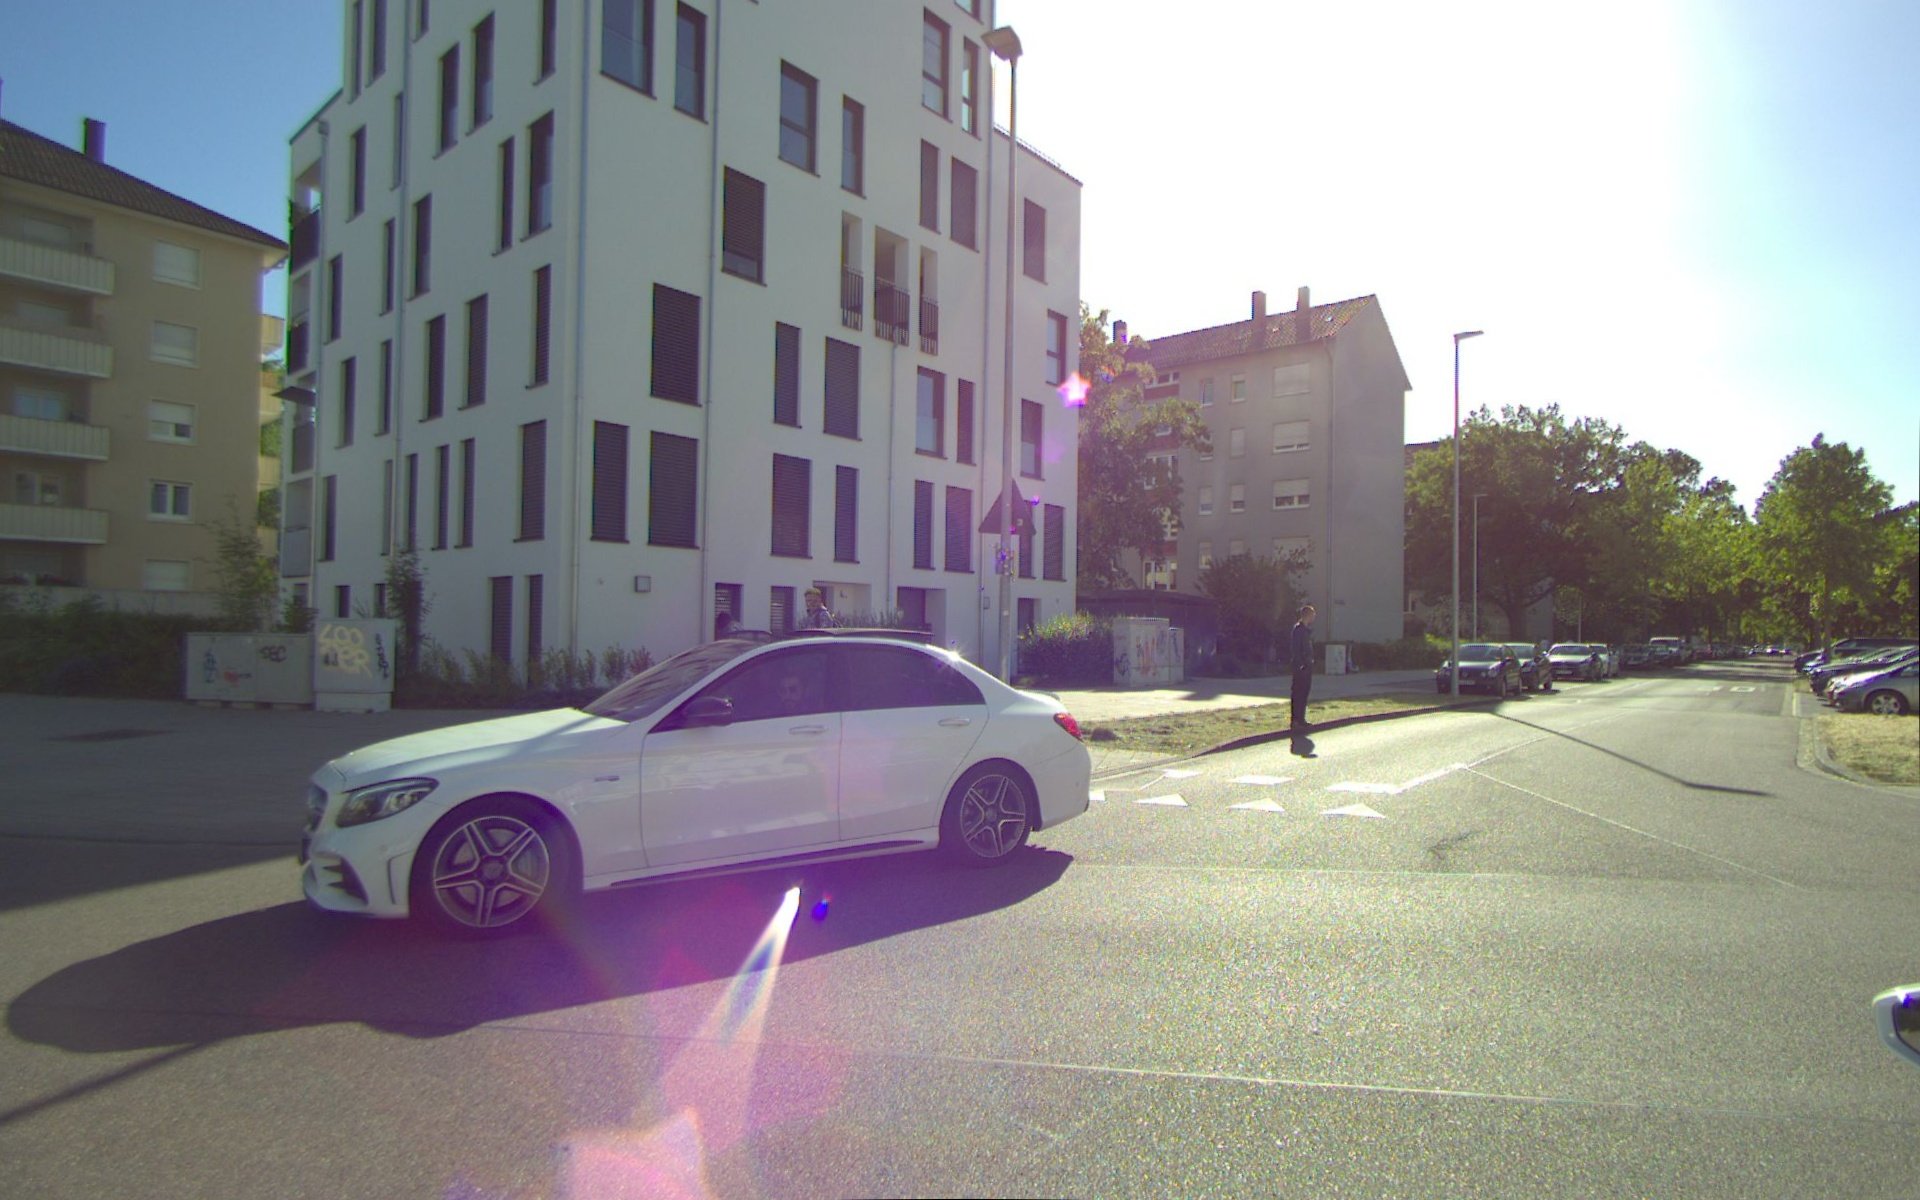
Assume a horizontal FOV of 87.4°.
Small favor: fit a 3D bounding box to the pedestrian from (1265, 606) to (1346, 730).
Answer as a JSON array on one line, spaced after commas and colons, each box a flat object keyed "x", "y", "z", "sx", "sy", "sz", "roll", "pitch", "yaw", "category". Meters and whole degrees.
[{"x": 5.068, "y": 0.972, "z": 14.702, "sx": 0.859, "sy": 1.737, "sz": 0.976, "roll": 0, "pitch": -2, "yaw": 37, "category": "pedestrian"}]

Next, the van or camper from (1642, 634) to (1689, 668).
[{"x": 46.744, "y": 3.406, "z": 66.528, "sx": 1.972, "sy": 2.040, "sz": 3.978, "roll": 2, "pitch": -1, "yaw": 43, "category": "van or camper"}]

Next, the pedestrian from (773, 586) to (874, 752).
[{"x": -1.660, "y": 0.814, "z": 12.279, "sx": 0.831, "sy": 1.910, "sz": 0.790, "roll": 3, "pitch": -1, "yaw": 30, "category": "pedestrian"}]

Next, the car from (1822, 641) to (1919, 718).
[{"x": 20.267, "y": 1.623, "z": 20.446, "sx": 4.038, "sy": 1.512, "sz": 1.722, "roll": 0, "pitch": -2, "yaw": 38, "category": "car"}]

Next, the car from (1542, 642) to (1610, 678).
[{"x": 24.118, "y": 2.323, "z": 39.261, "sx": 1.610, "sy": 1.250, "sz": 4.173, "roll": 2, "pitch": -1, "yaw": 40, "category": "car"}]

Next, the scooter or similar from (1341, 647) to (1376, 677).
[{"x": 14.845, "y": 2.289, "z": 37.376, "sx": 0.525, "sy": 1.060, "sz": 1.859, "roll": 0, "pitch": -2, "yaw": 44, "category": "scooter or similar"}]

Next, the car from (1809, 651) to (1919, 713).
[{"x": 21.718, "y": 1.805, "z": 21.861, "sx": 4.808, "sy": 1.291, "sz": 1.722, "roll": -1, "pitch": -3, "yaw": 37, "category": "car"}]

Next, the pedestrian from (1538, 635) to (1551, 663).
[{"x": 35.776, "y": 2.987, "z": 61.493, "sx": 0.625, "sy": 1.686, "sz": 0.697, "roll": 0, "pitch": -2, "yaw": 35, "category": "pedestrian"}]

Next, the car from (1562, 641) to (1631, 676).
[{"x": 27.661, "y": 2.529, "z": 43.622, "sx": 1.971, "sy": 1.416, "sz": 3.980, "roll": 0, "pitch": -3, "yaw": 41, "category": "car"}]

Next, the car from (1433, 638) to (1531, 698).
[{"x": 14.447, "y": 1.833, "z": 27.719, "sx": 1.646, "sy": 1.439, "sz": 3.984, "roll": 2, "pitch": -1, "yaw": 38, "category": "car"}]

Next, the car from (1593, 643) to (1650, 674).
[{"x": 32.410, "y": 2.855, "z": 49.149, "sx": 1.821, "sy": 1.416, "sz": 3.980, "roll": 0, "pitch": -3, "yaw": 41, "category": "car"}]

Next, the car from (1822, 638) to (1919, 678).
[{"x": 42.145, "y": 2.625, "z": 45.766, "sx": 4.227, "sy": 1.721, "sz": 1.992, "roll": -2, "pitch": -3, "yaw": 39, "category": "car"}]

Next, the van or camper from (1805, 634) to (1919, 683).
[{"x": 38.328, "y": 2.460, "z": 42.420, "sx": 3.940, "sy": 1.795, "sz": 1.991, "roll": 2, "pitch": -1, "yaw": 41, "category": "van or camper"}]

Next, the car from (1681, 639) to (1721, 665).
[{"x": 64.432, "y": 4.510, "z": 87.294, "sx": 3.971, "sy": 2.040, "sz": 1.975, "roll": 4, "pitch": -1, "yaw": -42, "category": "car"}]

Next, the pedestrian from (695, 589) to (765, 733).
[{"x": -3.518, "y": 0.921, "z": 15.433, "sx": 0.940, "sy": 2.149, "sz": 0.775, "roll": 0, "pitch": 0, "yaw": -6, "category": "pedestrian"}]

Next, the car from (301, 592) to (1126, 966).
[{"x": -1.292, "y": 0.896, "z": 6.221, "sx": 4.592, "sy": 1.523, "sz": 1.874, "roll": 3, "pitch": -5, "yaw": -35, "category": "car"}]

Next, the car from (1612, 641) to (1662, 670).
[{"x": 37.723, "y": 3.065, "z": 55.935, "sx": 1.969, "sy": 1.426, "sz": 3.893, "roll": 2, "pitch": -1, "yaw": 38, "category": "car"}]

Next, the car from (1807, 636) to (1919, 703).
[{"x": 25.299, "y": 1.890, "z": 26.686, "sx": 4.153, "sy": 1.617, "sz": 1.992, "roll": 2, "pitch": -1, "yaw": 39, "category": "car"}]

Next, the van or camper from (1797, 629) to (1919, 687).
[{"x": 36.345, "y": 2.328, "z": 40.496, "sx": 3.940, "sy": 2.040, "sz": 1.991, "roll": 2, "pitch": -1, "yaw": 41, "category": "van or camper"}]

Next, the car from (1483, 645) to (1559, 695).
[{"x": 17.527, "y": 2.136, "z": 31.306, "sx": 1.389, "sy": 1.394, "sz": 3.981, "roll": 0, "pitch": -2, "yaw": 40, "category": "car"}]

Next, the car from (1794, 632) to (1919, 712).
[{"x": 23.331, "y": 1.801, "z": 24.688, "sx": 4.226, "sy": 1.788, "sz": 1.992, "roll": 2, "pitch": -1, "yaw": 39, "category": "car"}]

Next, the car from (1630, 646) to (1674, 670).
[{"x": 42.823, "y": 3.586, "z": 62.102, "sx": 1.821, "sy": 1.416, "sz": 3.980, "roll": 0, "pitch": -3, "yaw": 41, "category": "car"}]

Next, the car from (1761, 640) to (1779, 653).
[{"x": 115.591, "y": 6.656, "z": 143.355, "sx": 1.970, "sy": 1.770, "sz": 3.982, "roll": 0, "pitch": -2, "yaw": 40, "category": "car"}]

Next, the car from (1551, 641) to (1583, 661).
[{"x": 38.416, "y": 3.219, "z": 63.528, "sx": 1.260, "sy": 1.241, "sz": 2.649, "roll": -1, "pitch": -2, "yaw": 42, "category": "car"}]
